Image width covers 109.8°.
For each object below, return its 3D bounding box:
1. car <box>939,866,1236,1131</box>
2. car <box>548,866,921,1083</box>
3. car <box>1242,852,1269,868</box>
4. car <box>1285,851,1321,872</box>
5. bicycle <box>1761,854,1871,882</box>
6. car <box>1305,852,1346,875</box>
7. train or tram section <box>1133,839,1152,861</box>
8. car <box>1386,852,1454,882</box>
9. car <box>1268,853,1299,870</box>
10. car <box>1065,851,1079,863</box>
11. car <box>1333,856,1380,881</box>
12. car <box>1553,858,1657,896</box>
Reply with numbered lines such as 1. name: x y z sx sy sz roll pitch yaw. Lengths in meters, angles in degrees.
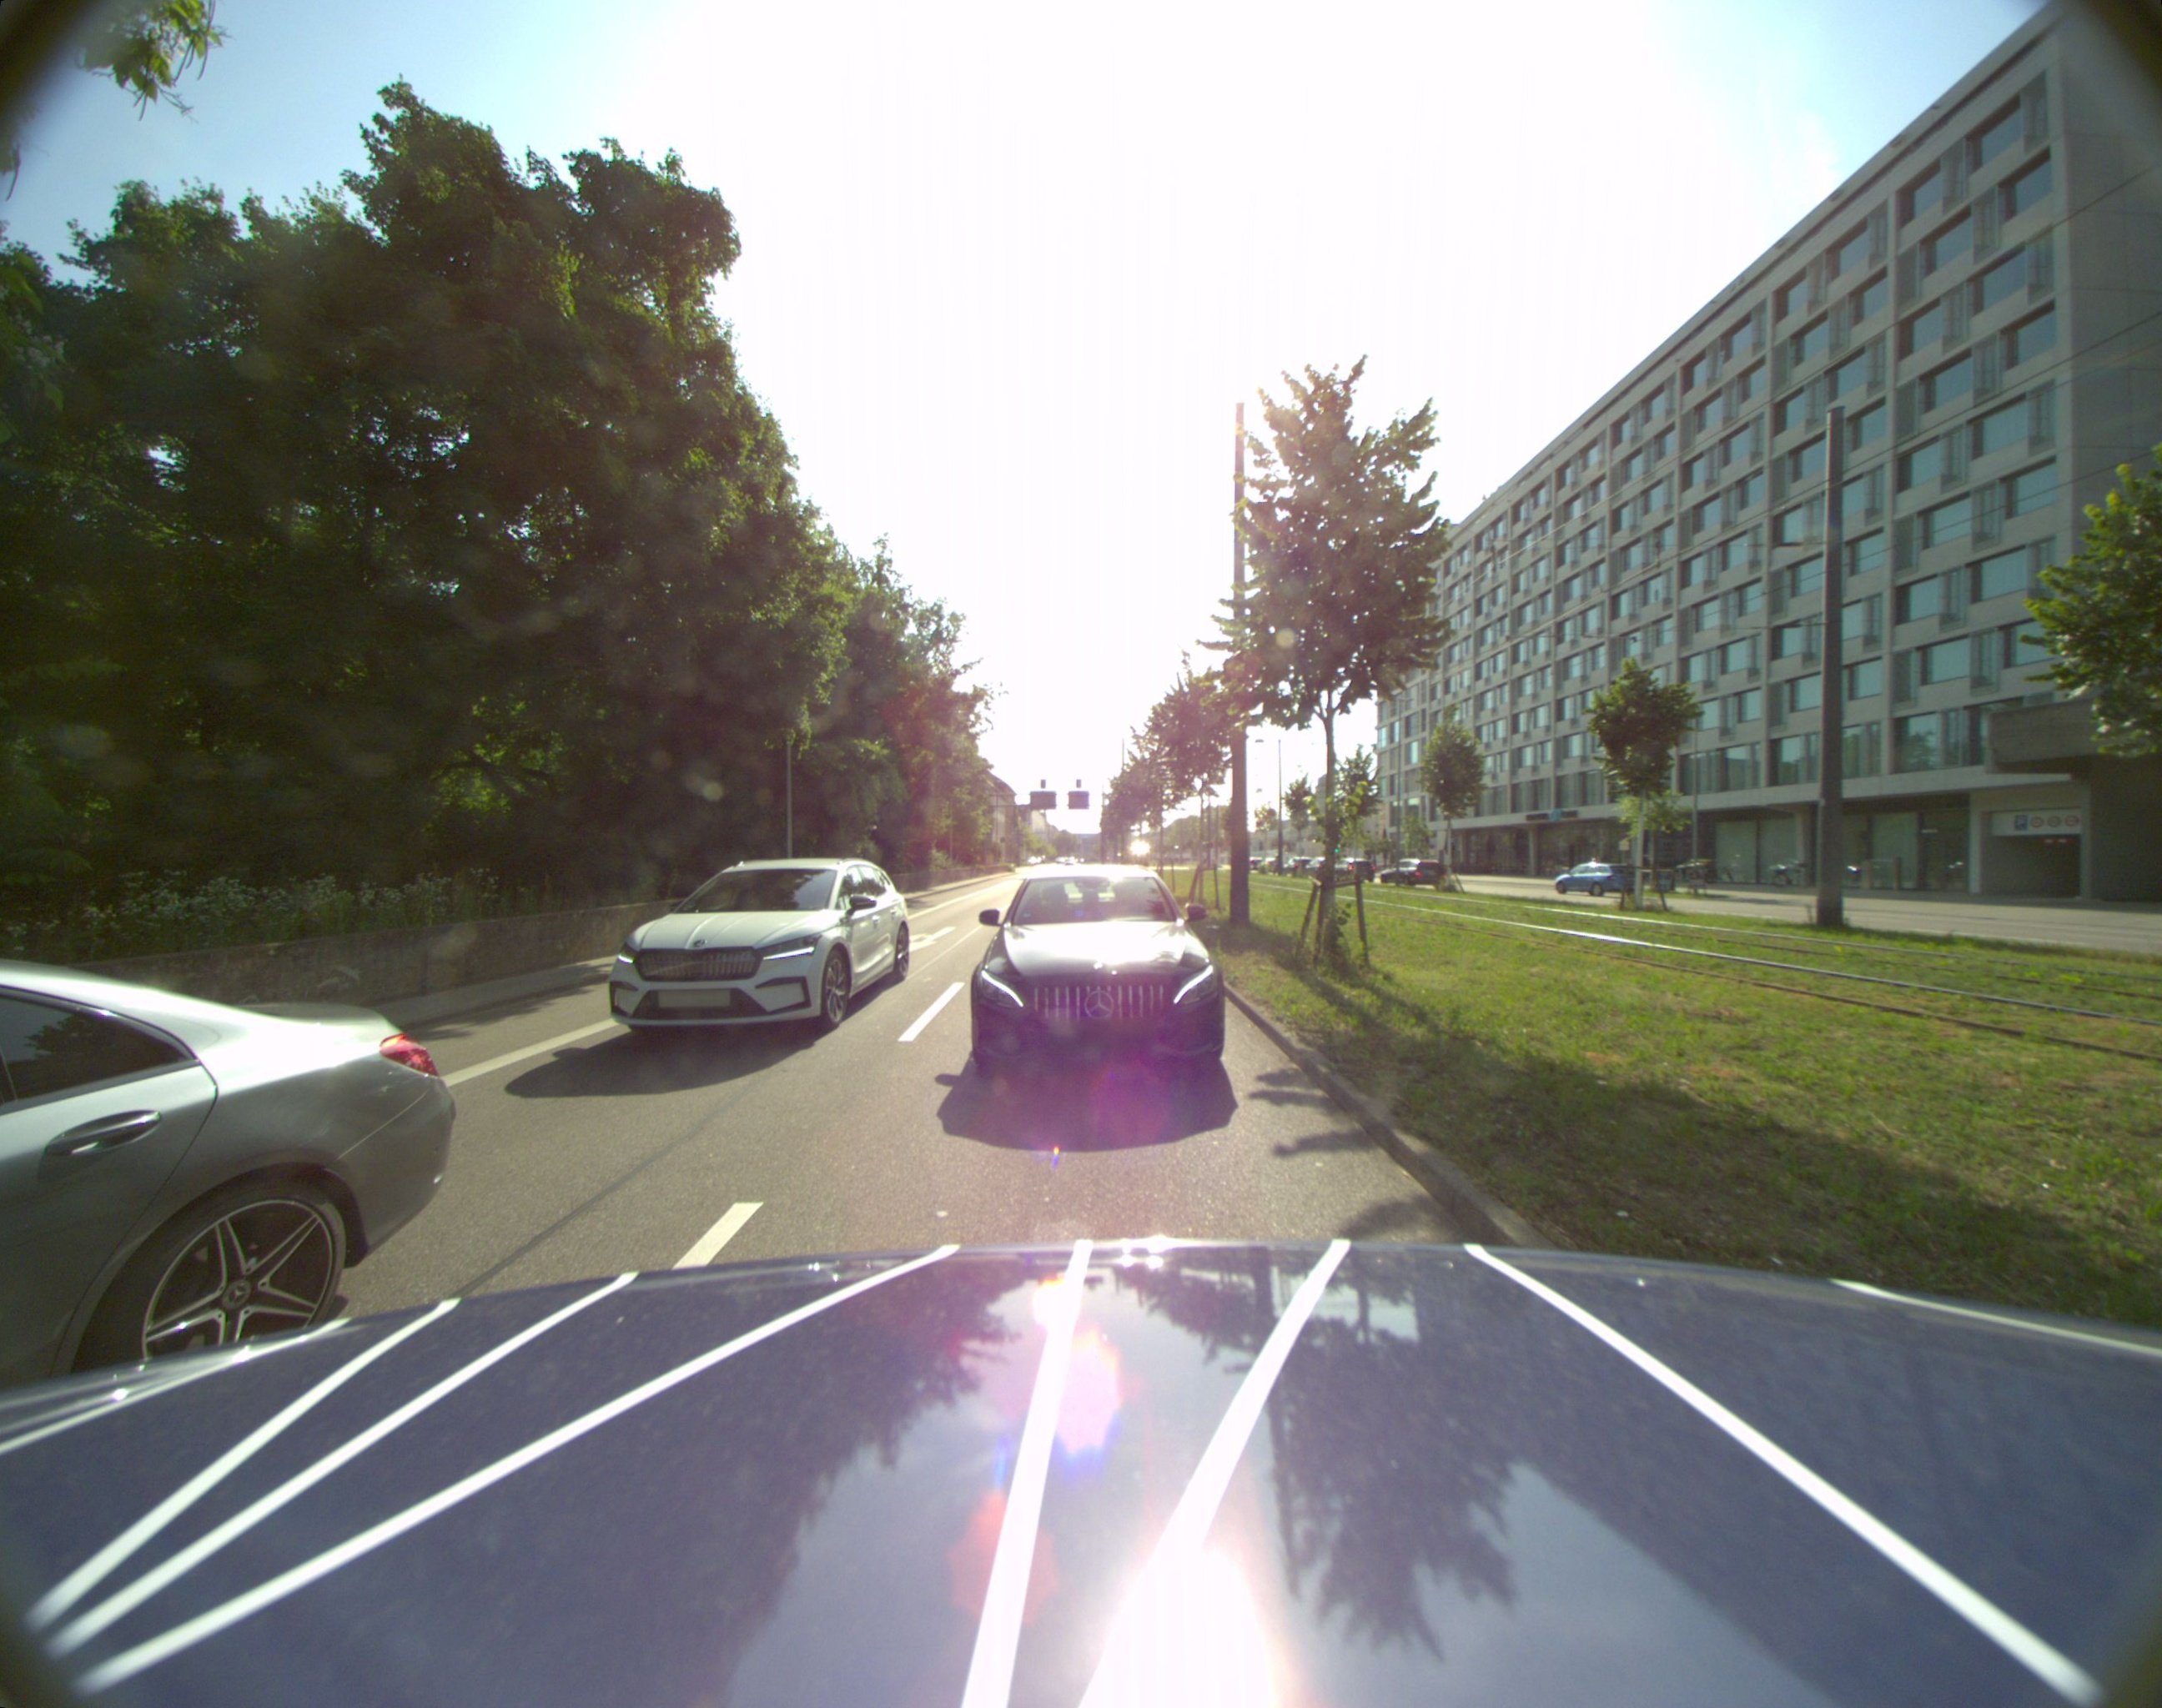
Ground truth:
1. car: 0.073 0.921 6.952 1.760 1.437 4.617 -2 1 1
2. car: -3.132 0.969 8.014 1.897 1.561 4.250 -1 0 1
3. car: 17.542 0.565 76.552 1.787 1.516 4.000 0 0 1
4. car: 17.342 0.573 59.570 1.812 1.565 4.000 0 0 3
5. bicycle: 36.609 0.676 37.896 3.994 1.358 1.127 0 1 9
6. car: 17.366 0.617 54.093 1.812 1.565 4.000 0 0 3
7. train or tram section: 9.747 -0.633 120.970 2.500 3.409 6.669 0 0 1
8. car: 17.126 0.628 38.623 1.812 1.472 4.000 0 0 3
9. car: 17.697 0.639 66.451 1.812 1.466 4.000 0 0 3
10. car: -1.264 0.423 109.703 1.998 1.630 4.000 0 0 0
11. car: 17.260 0.856 47.711 1.745 1.478 3.642 0 0 3
12. car: 23.288 0.990 33.957 1.998 1.565 4.000 0 0 3
